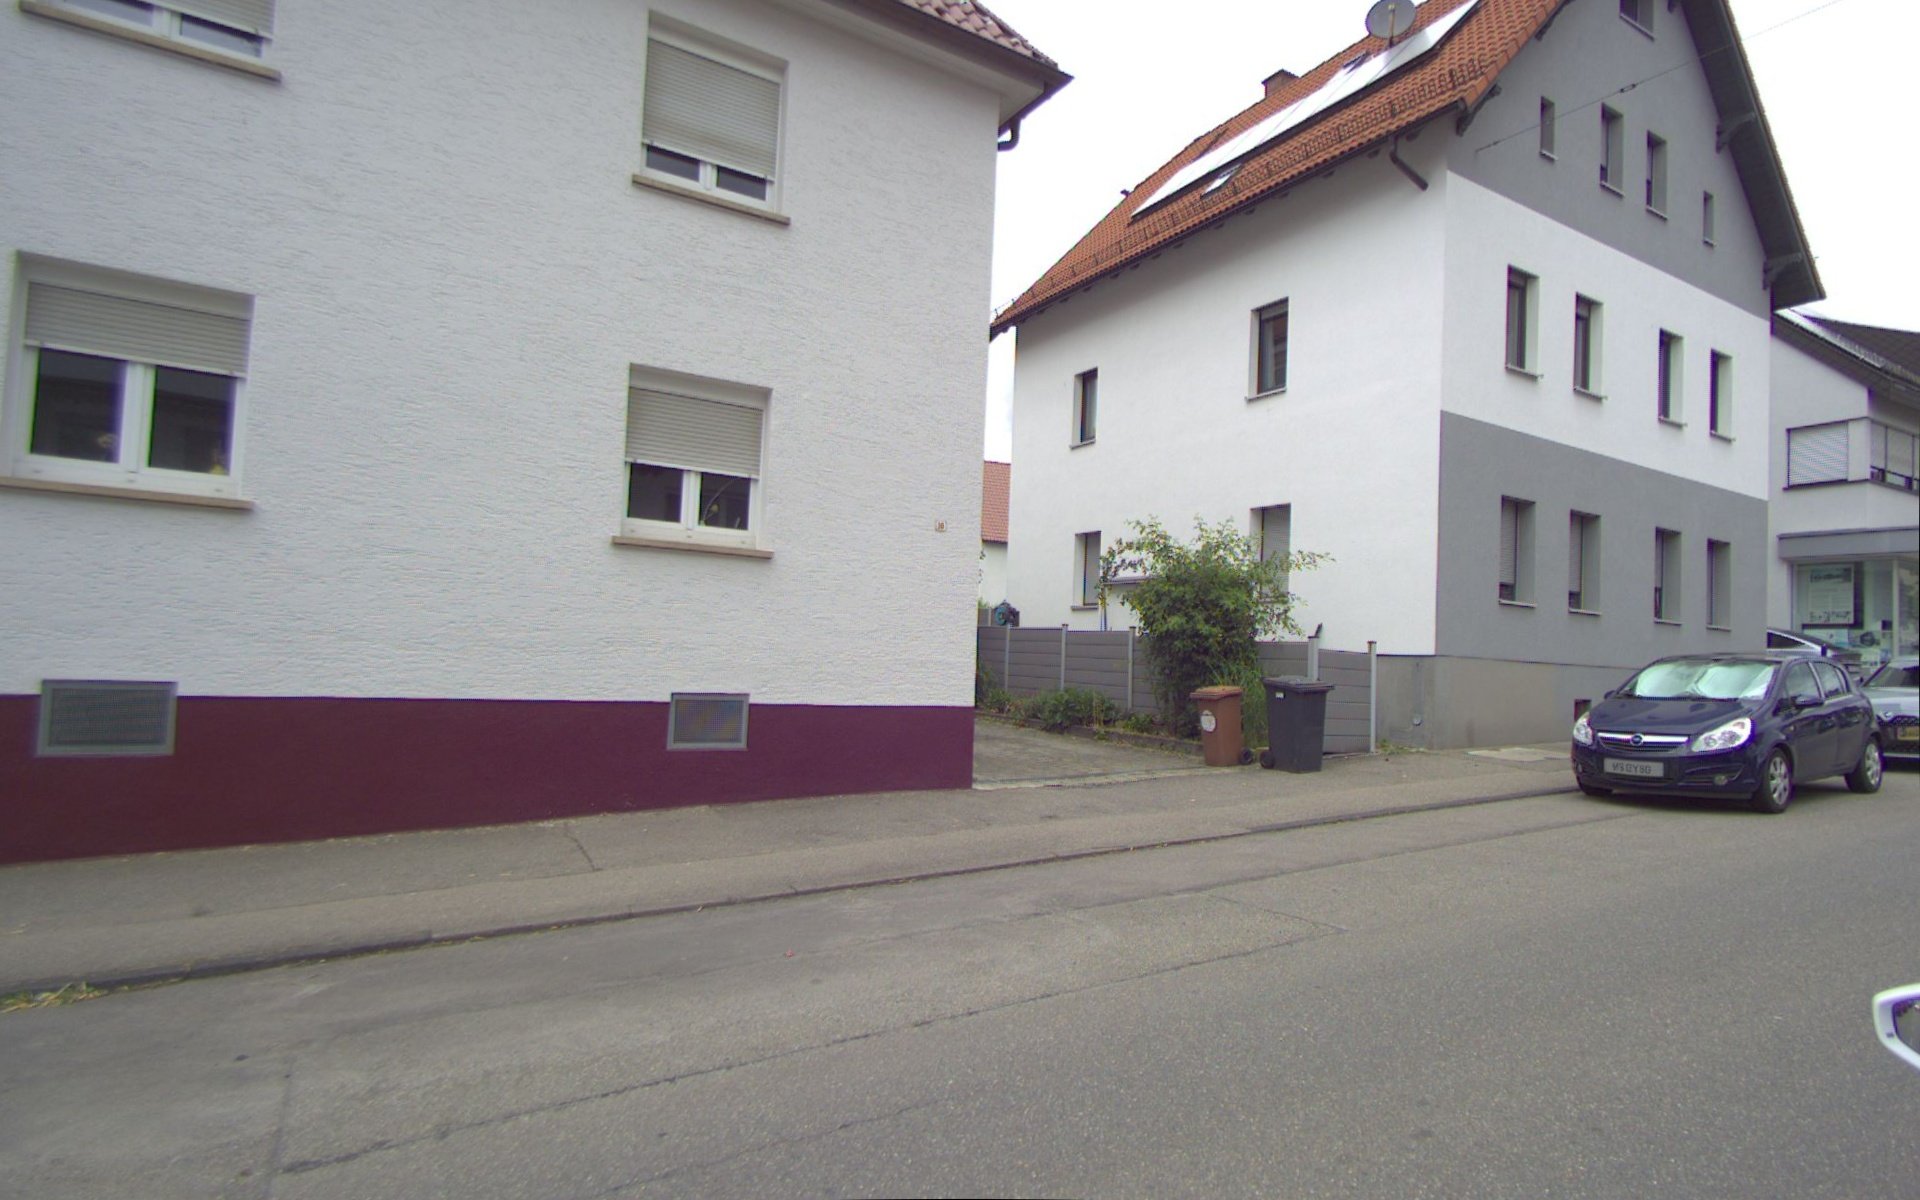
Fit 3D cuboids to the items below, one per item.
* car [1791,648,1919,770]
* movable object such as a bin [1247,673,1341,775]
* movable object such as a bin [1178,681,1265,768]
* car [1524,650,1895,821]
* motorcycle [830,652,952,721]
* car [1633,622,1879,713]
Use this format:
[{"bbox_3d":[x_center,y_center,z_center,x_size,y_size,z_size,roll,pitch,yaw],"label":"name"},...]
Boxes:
[{"bbox_3d":[13.251,1.387,13.505,4.417,1.464,1.828,2,-4,-31],"label":"car"},{"bbox_3d":[3.826,1.396,11.519,0.750,1.059,0.674,2,0,-30],"label":"movable object such as a bin"},{"bbox_3d":[3.135,1.476,12.057,0.750,0.903,0.674,-1,2,-30],"label":"movable object such as a bin"},{"bbox_3d":[7.894,1.269,10.507,3.957,1.464,1.827,2,-4,-33],"label":"car"},{"bbox_3d":[-1.178,1.493,17.705,0.762,1.062,2.220,2,0,42],"label":"motorcycle"},{"bbox_3d":[18.129,1.504,23.082,1.975,1.880,3.972,2,-3,-28],"label":"car"}]
